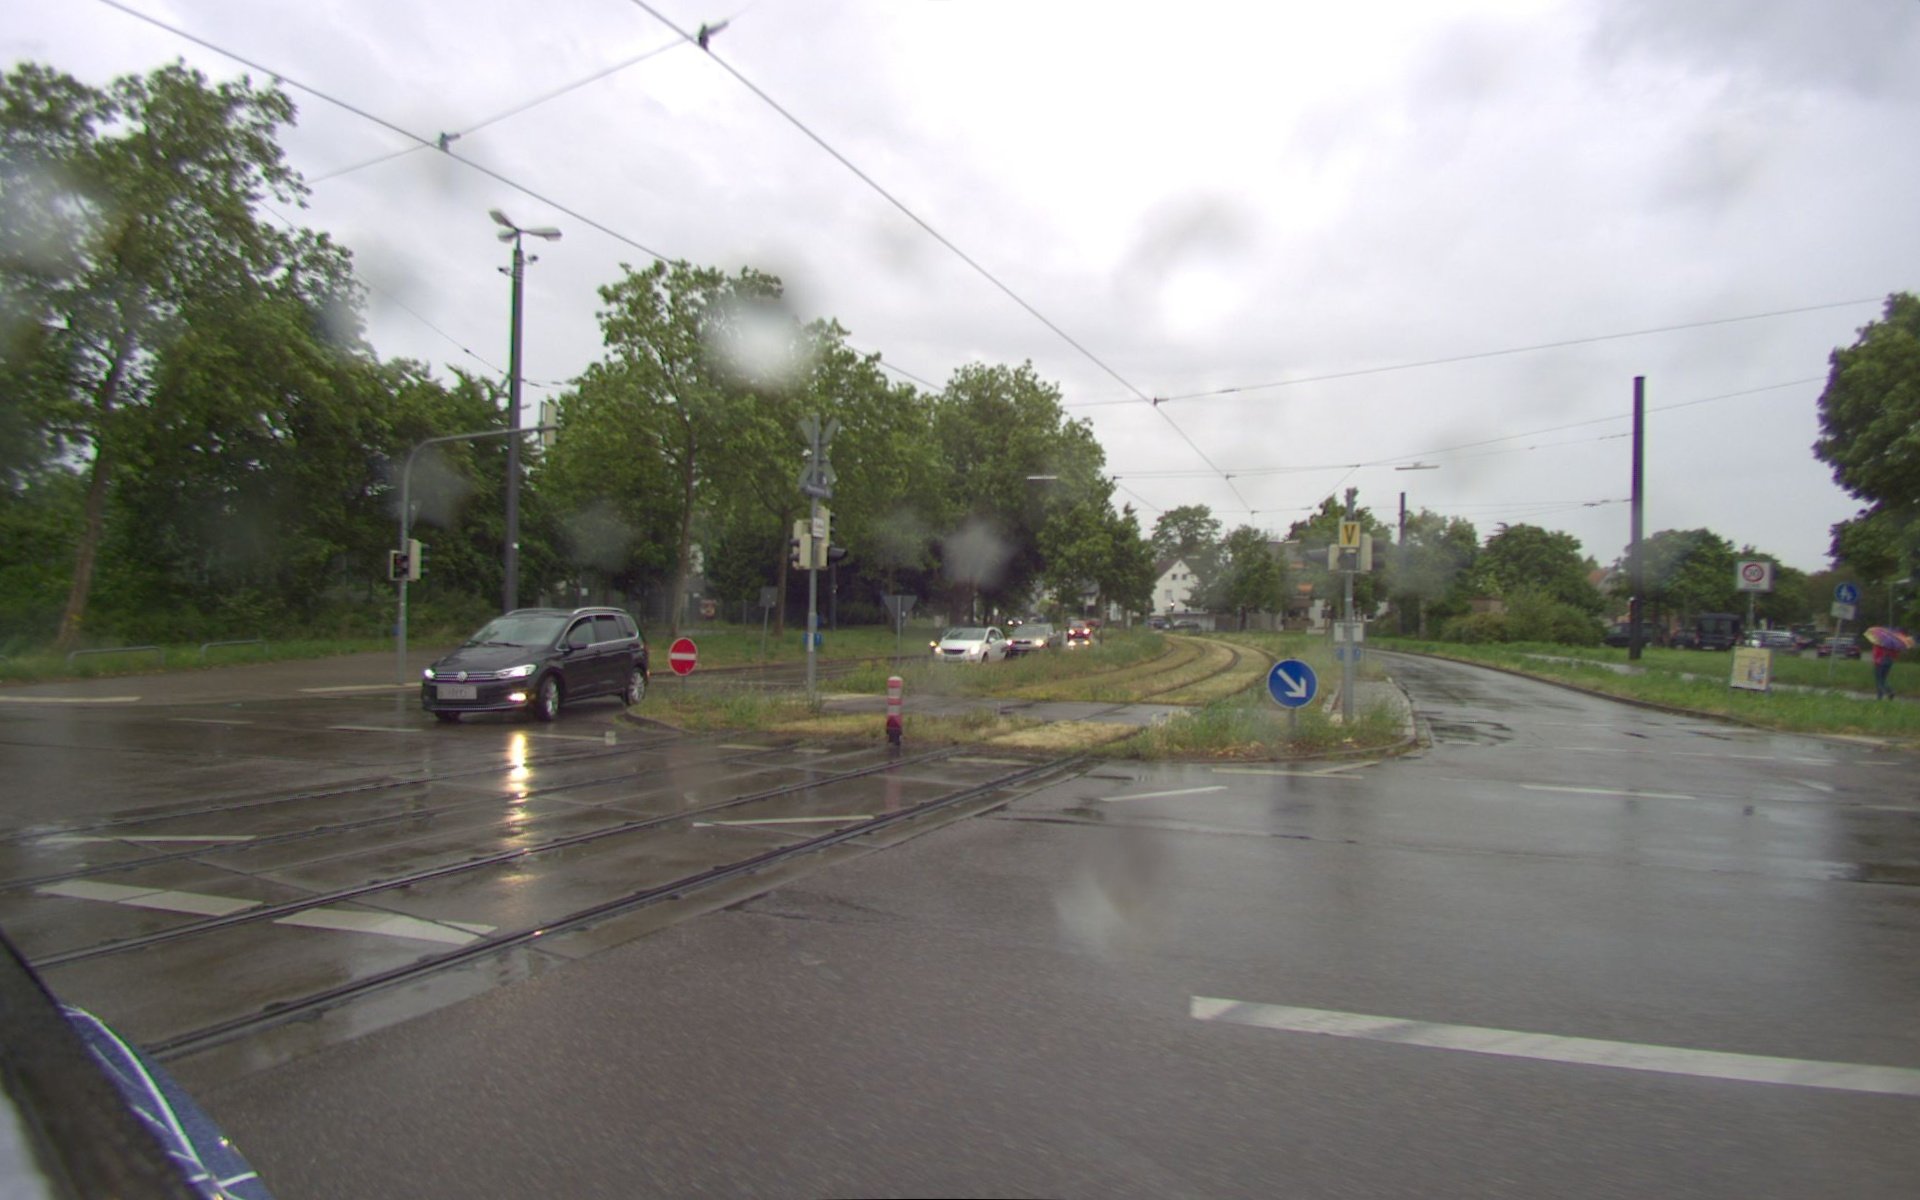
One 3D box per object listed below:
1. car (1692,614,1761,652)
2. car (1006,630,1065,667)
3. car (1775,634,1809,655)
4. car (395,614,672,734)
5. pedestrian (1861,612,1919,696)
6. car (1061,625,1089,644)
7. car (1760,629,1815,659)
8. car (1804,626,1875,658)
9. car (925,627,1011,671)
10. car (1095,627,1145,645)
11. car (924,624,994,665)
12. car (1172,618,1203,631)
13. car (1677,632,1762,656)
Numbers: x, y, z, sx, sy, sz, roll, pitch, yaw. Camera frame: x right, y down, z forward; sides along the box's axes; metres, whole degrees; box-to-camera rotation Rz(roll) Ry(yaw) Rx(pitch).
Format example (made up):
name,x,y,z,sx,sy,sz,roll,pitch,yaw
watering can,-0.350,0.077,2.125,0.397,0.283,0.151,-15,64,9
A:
name,x,y,z,sx,sy,sz,roll,pitch,yaw
car,42.559,1.804,56.151,5.041,2.029,2.314,1,-2,-44
car,3.151,1.977,41.788,1.772,1.414,3.776,-1,-2,15
car,69.428,3.675,84.476,1.818,1.630,3.861,-2,-2,45
car,-6.486,1.069,16.063,1.848,1.614,4.508,-1,-2,12
pedestrian,22.865,1.296,24.682,0.946,2.006,1.002,-1,-2,18
car,8.790,2.637,77.515,1.765,1.391,3.862,0,-2,2
car,44.861,2.336,54.841,4.777,1.542,1.758,1,-2,-44
car,46.242,2.169,53.176,4.936,1.585,2.066,1,-2,-40
car,0.334,1.585,33.766,1.775,1.374,3.974,-1,-2,18
car,13.187,2.933,83.171,4.003,1.431,1.669,-1,-2,12
car,0.006,1.830,42.660,1.859,1.630,3.785,-1,-2,19
car,32.868,3.551,146.359,3.933,1.815,1.897,0,-3,-13
car,49.643,2.873,66.200,1.755,1.494,4.188,1,-2,-41
